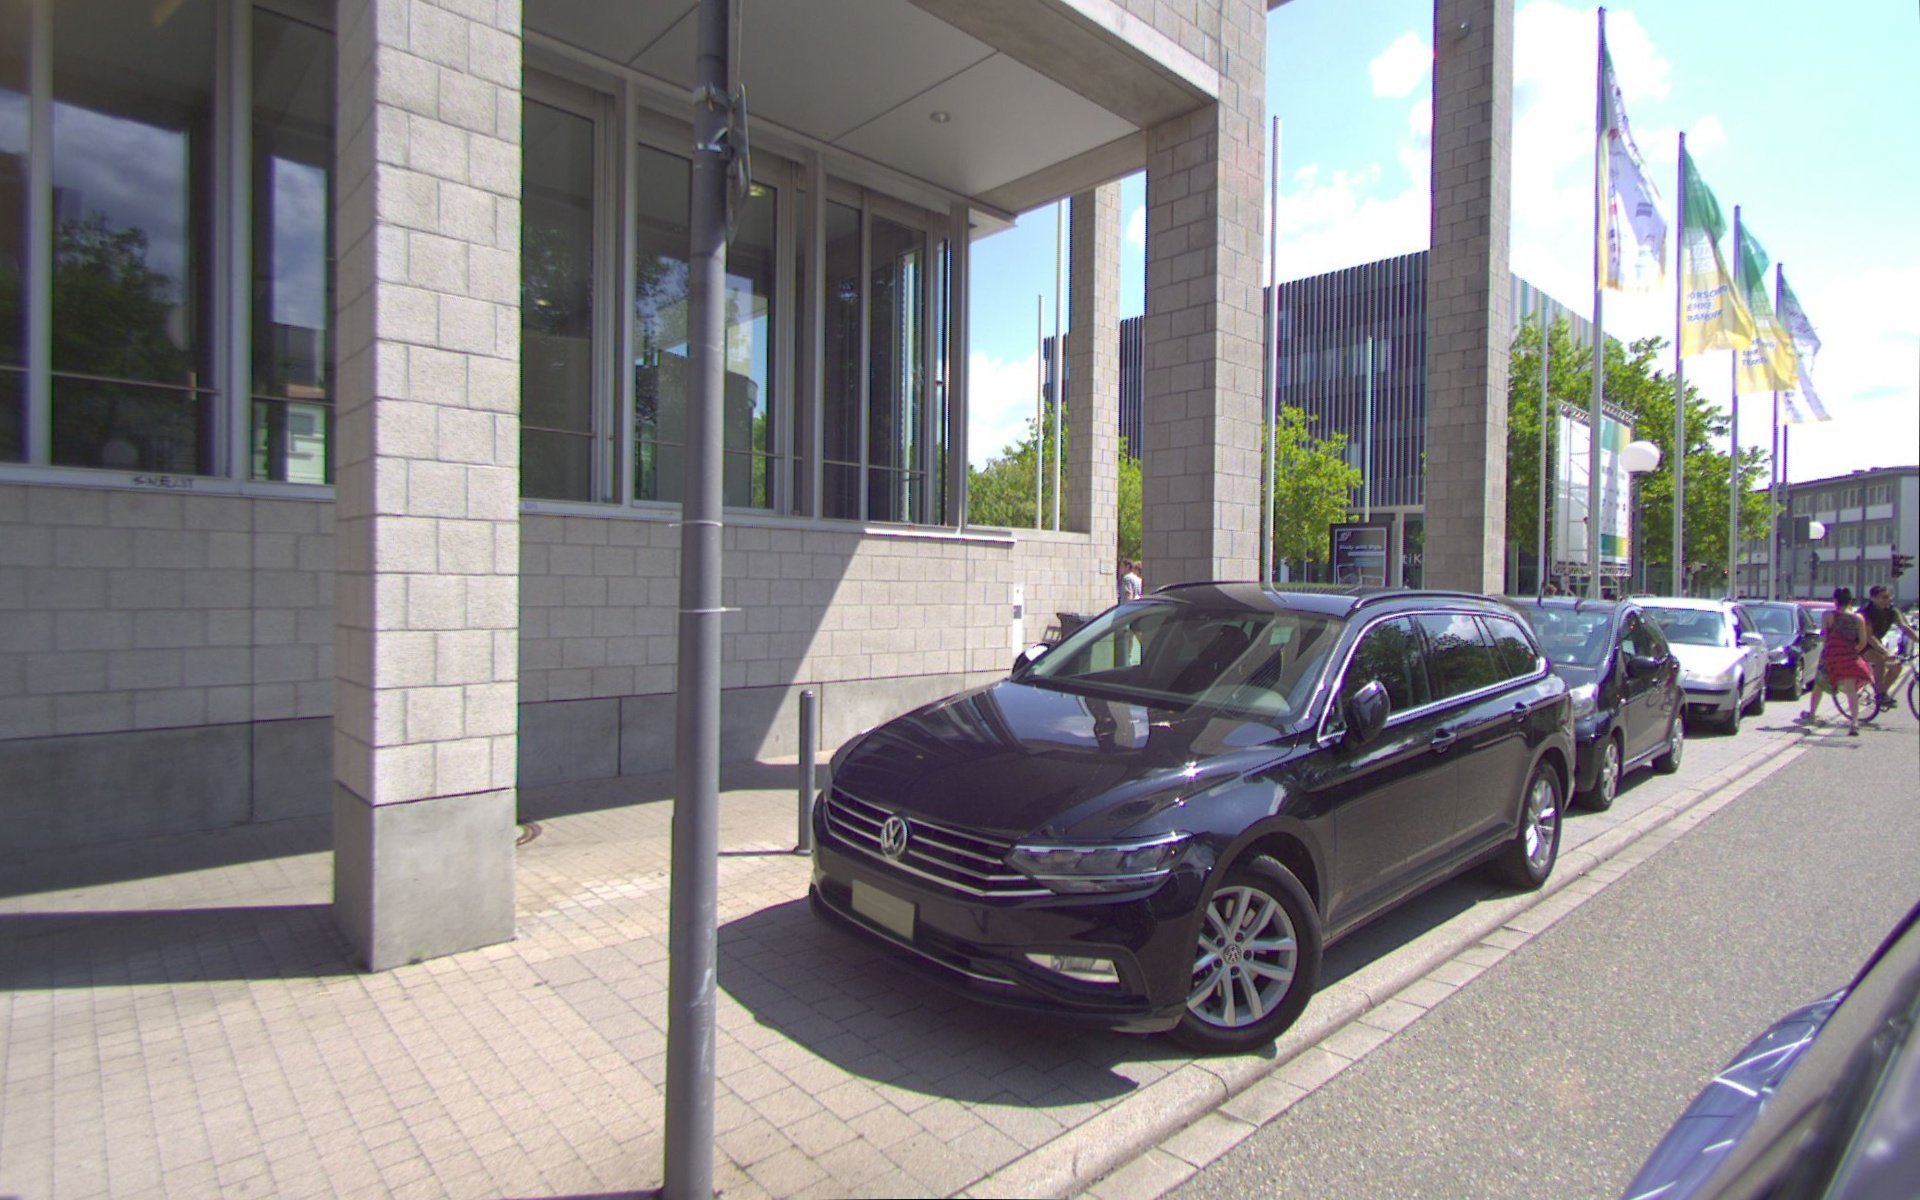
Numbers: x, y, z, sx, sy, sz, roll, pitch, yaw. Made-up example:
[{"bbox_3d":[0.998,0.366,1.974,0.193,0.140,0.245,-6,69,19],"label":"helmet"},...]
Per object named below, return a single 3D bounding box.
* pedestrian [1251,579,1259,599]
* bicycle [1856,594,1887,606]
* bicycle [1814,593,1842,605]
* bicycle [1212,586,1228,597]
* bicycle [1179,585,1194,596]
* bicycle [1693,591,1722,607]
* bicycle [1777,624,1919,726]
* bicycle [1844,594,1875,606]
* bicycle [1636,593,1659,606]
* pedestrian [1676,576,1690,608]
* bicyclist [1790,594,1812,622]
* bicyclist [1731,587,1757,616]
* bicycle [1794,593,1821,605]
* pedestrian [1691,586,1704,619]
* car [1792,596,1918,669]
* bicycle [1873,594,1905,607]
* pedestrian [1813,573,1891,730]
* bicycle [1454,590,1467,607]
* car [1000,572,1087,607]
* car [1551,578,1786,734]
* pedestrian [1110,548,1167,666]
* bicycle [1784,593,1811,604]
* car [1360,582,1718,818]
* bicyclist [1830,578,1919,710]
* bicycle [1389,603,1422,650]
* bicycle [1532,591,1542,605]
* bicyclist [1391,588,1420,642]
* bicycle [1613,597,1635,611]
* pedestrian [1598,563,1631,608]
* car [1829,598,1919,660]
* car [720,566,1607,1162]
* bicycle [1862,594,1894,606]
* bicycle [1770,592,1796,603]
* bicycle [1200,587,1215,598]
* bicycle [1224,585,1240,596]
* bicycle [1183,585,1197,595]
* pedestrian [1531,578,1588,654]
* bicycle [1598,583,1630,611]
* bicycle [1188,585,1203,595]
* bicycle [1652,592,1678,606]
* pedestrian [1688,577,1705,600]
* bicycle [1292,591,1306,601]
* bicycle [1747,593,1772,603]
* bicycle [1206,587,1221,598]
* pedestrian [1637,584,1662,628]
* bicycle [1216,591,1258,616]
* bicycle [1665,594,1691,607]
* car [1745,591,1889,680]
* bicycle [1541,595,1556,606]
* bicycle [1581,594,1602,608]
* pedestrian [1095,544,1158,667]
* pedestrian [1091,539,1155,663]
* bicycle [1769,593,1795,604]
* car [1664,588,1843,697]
[{"bbox_3d":[27.545,-1.049,94.414,0.552,1.864,0.554,1,2,40],"label":"pedestrian"},{"bbox_3d":[73.831,-0.002,81.996,1.751,0.967,0.526,1,3,20],"label":"bicycle"},{"bbox_3d":[74.524,-0.065,86.891,1.751,0.967,0.526,1,3,20],"label":"bicycle"},{"bbox_3d":[24.327,-0.768,94.670,1.515,0.967,0.374,-2,2,-28],"label":"bicycle"},{"bbox_3d":[21.836,-0.935,97.443,1.515,0.967,0.374,-2,2,-28],"label":"bicycle"},{"bbox_3d":[49.953,-0.076,67.625,0.518,0.967,1.776,0,2,-5],"label":"bicycle"},{"bbox_3d":[11.603,0.905,12.725,0.886,1.092,2.155,1,1,0],"label":"bicycle"},{"bbox_3d":[74.029,-0.012,83.296,1.751,0.967,0.526,1,3,20],"label":"bicycle"},{"bbox_3d":[51.345,-0.035,75.649,0.519,0.967,1.773,0,2,1],"label":"bicycle"},{"bbox_3d":[41.984,-0.484,58.751,0.628,1.864,0.474,1,1,33],"label":"pedestrian"},{"bbox_3d":[47.084,0.440,56.643,0.777,1.557,0.652,1,1,23],"label":"bicyclist"},{"bbox_3d":[44.726,0.101,57.727,0.986,1.636,0.653,0,1,19],"label":"bicyclist"},{"bbox_3d":[74.890,-0.087,89.462,1.751,0.967,0.526,1,3,20],"label":"bicycle"},{"bbox_3d":[42.523,0.120,58.377,0.572,1.864,0.410,1,2,37],"label":"pedestrian"},{"bbox_3d":[20.690,0.677,23.333,4.364,1.417,1.721,0,4,-43],"label":"car"},{"bbox_3d":[73.252,0.049,79.781,1.753,0.967,0.525,1,3,22],"label":"bicycle"},{"bbox_3d":[10.428,0.565,11.820,0.623,1.738,1.024,2,1,43],"label":"pedestrian"},{"bbox_3d":[38.753,-0.119,78.388,1.521,1.201,0.372,-3,4,-45],"label":"bicycle"},{"bbox_3d":[4.682,-0.622,57.555,4.928,1.888,1.873,2,2,45],"label":"car"},{"bbox_3d":[8.960,0.554,12.629,1.720,1.548,4.494,4,3,43],"label":"car"},{"bbox_3d":[3.024,0.103,17.104,0.780,1.950,0.587,1,0,32],"label":"pedestrian"},{"bbox_3d":[75.117,-0.127,90.751,1.751,0.967,0.526,1,3,20],"label":"bicycle"},{"bbox_3d":[4.989,0.625,8.464,3.941,1.515,1.615,0,1,-45],"label":"car"},{"bbox_3d":[11.585,0.521,12.602,0.650,1.583,0.933,1,1,0],"label":"bicyclist"},{"bbox_3d":[11.398,0.668,25.927,0.600,1.152,1.578,2,0,19],"label":"bicycle"},{"bbox_3d":[44.165,-0.167,77.482,0.524,0.967,1.757,1,2,27],"label":"bicycle"},{"bbox_3d":[11.415,0.382,25.942,0.600,1.337,0.738,2,0,19],"label":"bicyclist"},{"bbox_3d":[49.681,0.277,75.760,0.519,0.967,1.773,0,2,1],"label":"bicycle"},{"bbox_3d":[28.427,-0.615,43.967,1.156,1.842,0.855,5,0,-45],"label":"pedestrian"},{"bbox_3d":[25.018,0.713,27.381,4.865,1.417,1.721,0,3,-43],"label":"car"},{"bbox_3d":[1.324,0.631,4.739,4.445,1.483,1.868,0,1,-44],"label":"car"},{"bbox_3d":[73.533,-0.008,81.059,1.751,0.967,0.526,1,3,20],"label":"bicycle"},{"bbox_3d":[76.010,-0.198,93.440,1.751,0.967,0.526,1,3,20],"label":"bicycle"},{"bbox_3d":[23.345,-0.742,95.416,1.515,0.967,0.374,-2,2,-28],"label":"bicycle"},{"bbox_3d":[25.249,-0.901,93.906,1.515,0.967,0.374,-2,2,-28],"label":"bicycle"},{"bbox_3d":[22.025,-0.977,96.913,1.515,0.967,0.374,-2,2,-28],"label":"bicycle"},{"bbox_3d":[14.354,0.372,24.218,0.985,1.762,0.919,0,1,-43],"label":"pedestrian"},{"bbox_3d":[28.432,-0.110,43.991,0.815,1.086,1.860,3,-1,44],"label":"bicycle"},{"bbox_3d":[22.419,-0.937,96.389,1.515,0.967,0.374,-2,2,-28],"label":"bicycle"},{"bbox_3d":[52.749,-0.066,75.741,0.518,0.967,1.776,0,2,-5],"label":"bicycle"},{"bbox_3d":[57.389,-0.894,78.836,0.826,1.812,0.679,0,0,-20],"label":"pedestrian"},{"bbox_3d":[29.938,-0.347,89.389,1.519,0.785,0.373,-2,2,-40],"label":"bicycle"},{"bbox_3d":[76.874,-0.195,97.327,1.751,0.967,0.526,1,3,20],"label":"bicycle"},{"bbox_3d":[23.771,-0.737,94.922,1.515,0.967,0.374,-2,2,-28],"label":"bicycle"},{"bbox_3d":[29.374,0.249,43.097,0.598,1.824,0.597,2,-1,-18],"label":"pedestrian"},{"bbox_3d":[13.856,0.156,50.637,0.784,1.198,2.033,-1,2,-32],"label":"bicycle"},{"bbox_3d":[53.563,0.026,75.509,0.518,0.967,1.776,0,2,-5],"label":"bicycle"},{"bbox_3d":[17.088,0.632,20.120,4.076,1.515,1.617,0,3,-43],"label":"car"},{"bbox_3d":[44.912,0.030,77.182,0.521,0.773,1.766,1,2,15],"label":"bicycle"},{"bbox_3d":[47.683,0.060,76.397,0.519,0.967,1.772,-3,2,4],"label":"bicycle"},{"bbox_3d":[2.716,0.079,16.541,0.723,1.950,0.740,1,1,41],"label":"pedestrian"},{"bbox_3d":[2.651,0.005,16.444,0.779,1.950,0.725,1,0,35],"label":"pedestrian"},{"bbox_3d":[76.066,-0.168,93.667,1.751,0.967,0.526,1,3,20],"label":"bicycle"},{"bbox_3d":[13.144,0.604,16.681,3.932,1.548,1.721,0,2,-43],"label":"car"}]
